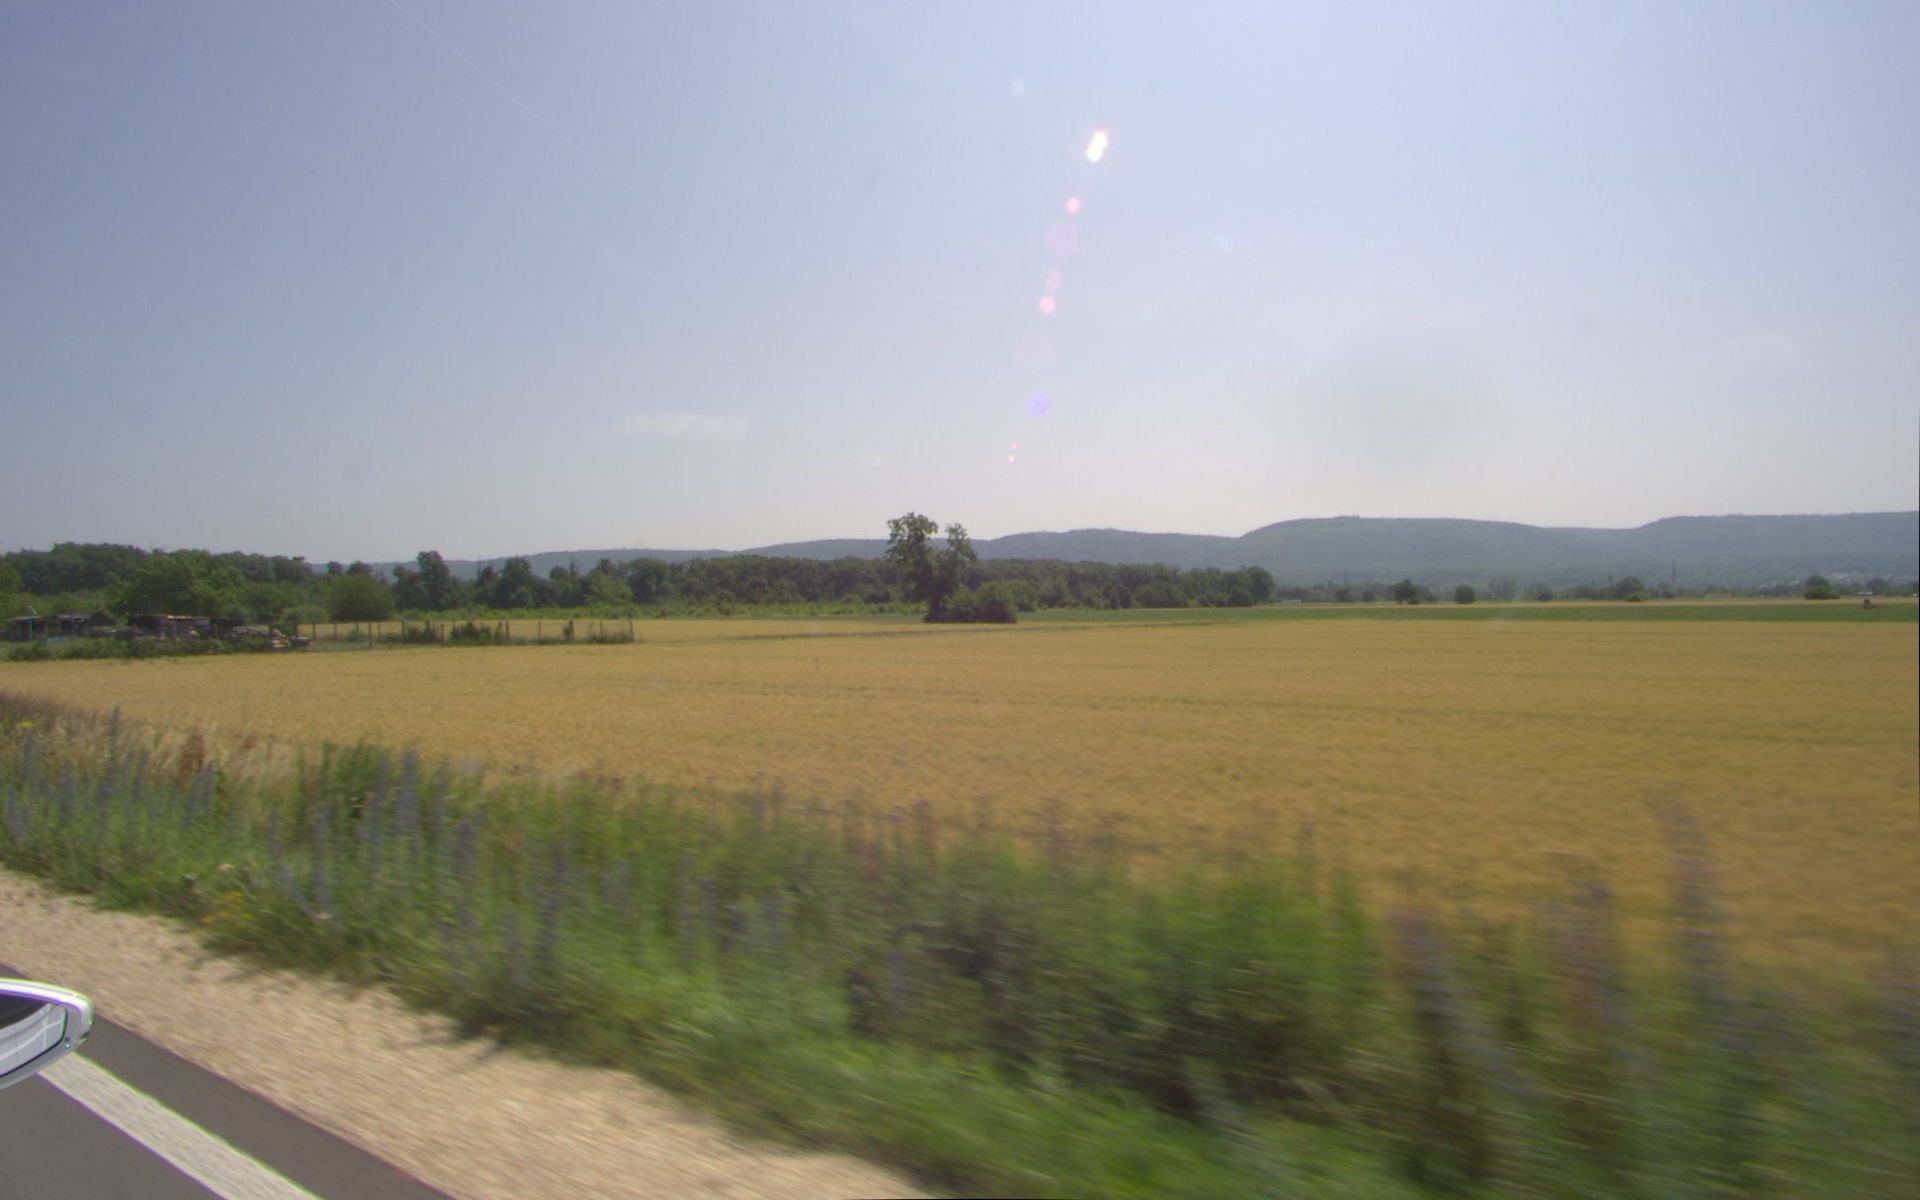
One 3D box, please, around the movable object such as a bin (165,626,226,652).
[{"bbox_3d":[-46.652,2.344,61.102,3.602,1.516,1.570,-1,-1,28],"label":"movable object such as a bin"}]
